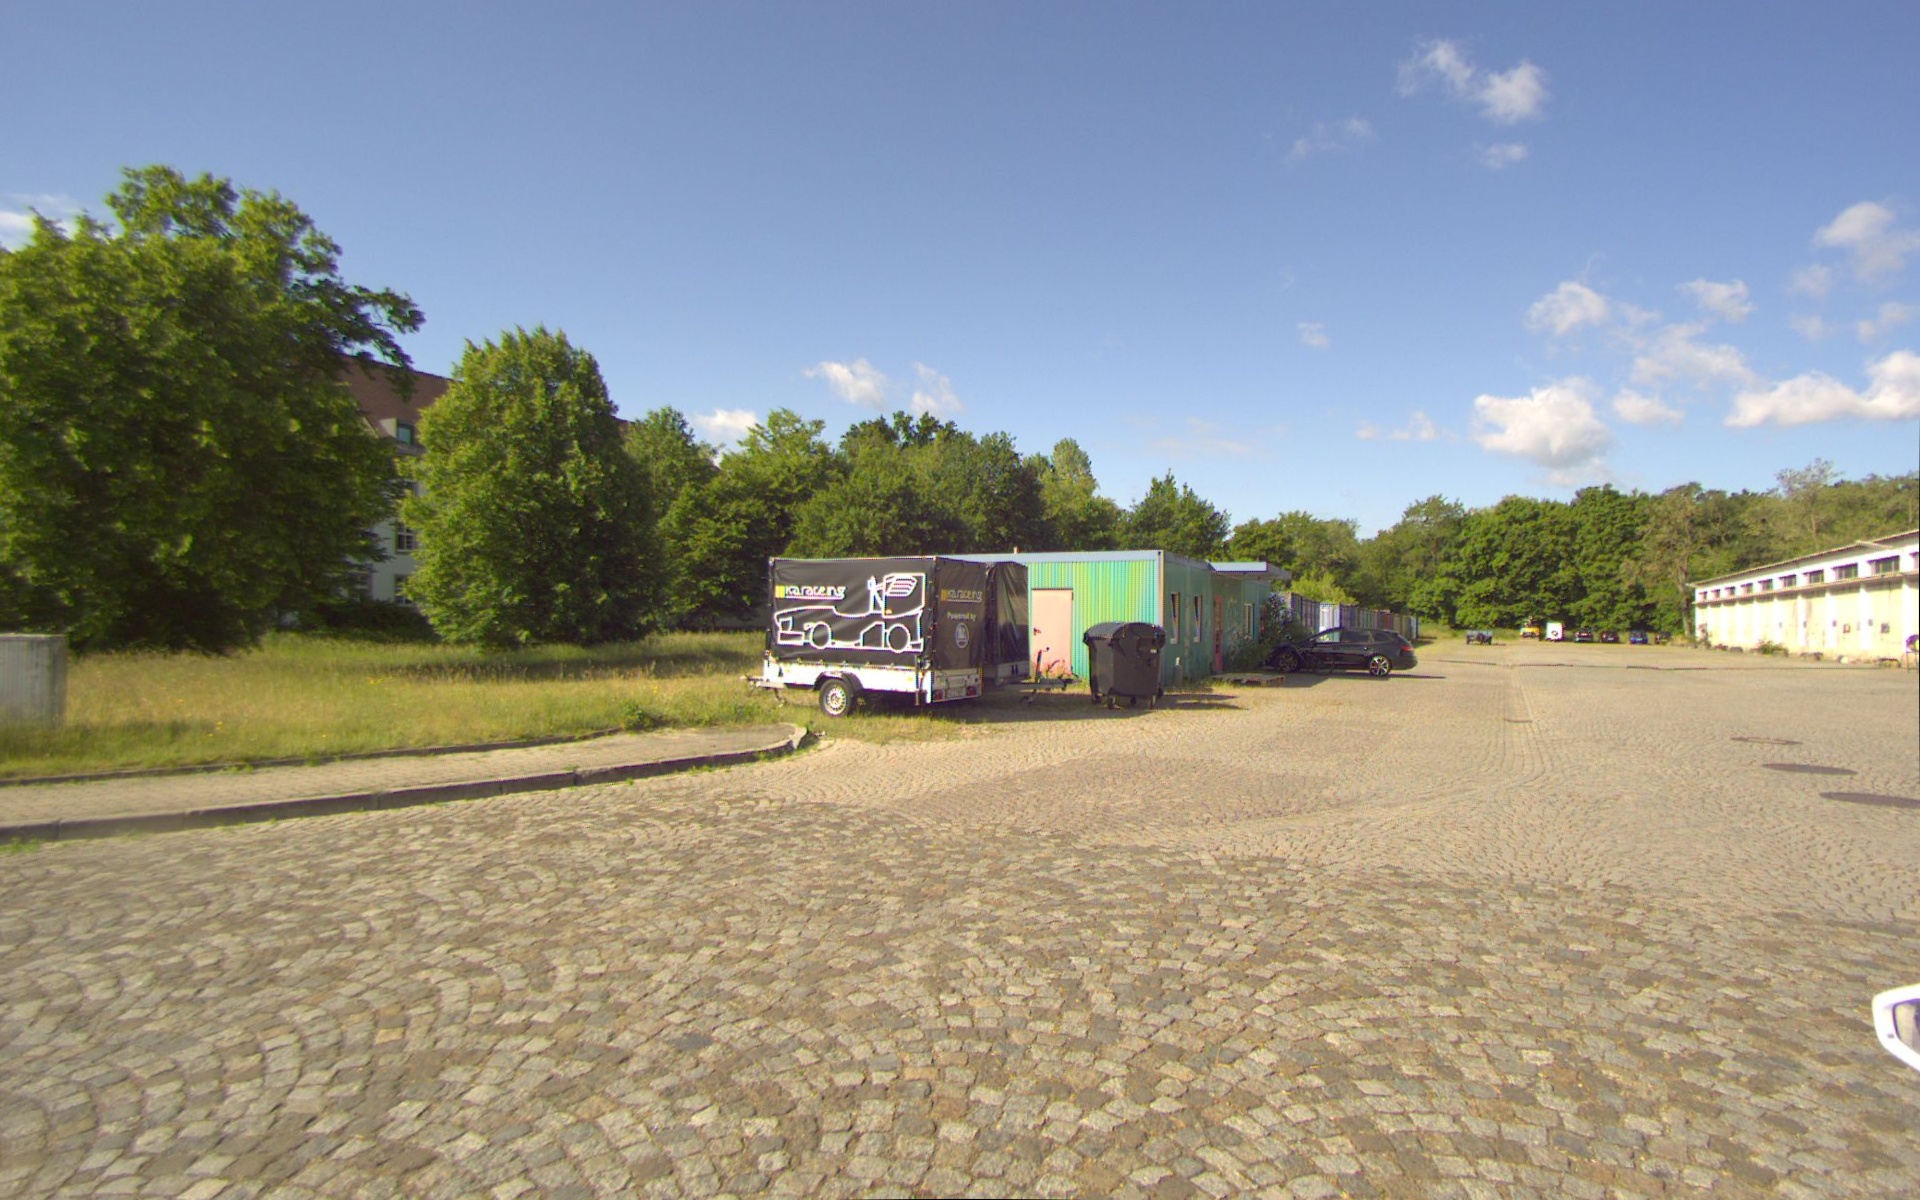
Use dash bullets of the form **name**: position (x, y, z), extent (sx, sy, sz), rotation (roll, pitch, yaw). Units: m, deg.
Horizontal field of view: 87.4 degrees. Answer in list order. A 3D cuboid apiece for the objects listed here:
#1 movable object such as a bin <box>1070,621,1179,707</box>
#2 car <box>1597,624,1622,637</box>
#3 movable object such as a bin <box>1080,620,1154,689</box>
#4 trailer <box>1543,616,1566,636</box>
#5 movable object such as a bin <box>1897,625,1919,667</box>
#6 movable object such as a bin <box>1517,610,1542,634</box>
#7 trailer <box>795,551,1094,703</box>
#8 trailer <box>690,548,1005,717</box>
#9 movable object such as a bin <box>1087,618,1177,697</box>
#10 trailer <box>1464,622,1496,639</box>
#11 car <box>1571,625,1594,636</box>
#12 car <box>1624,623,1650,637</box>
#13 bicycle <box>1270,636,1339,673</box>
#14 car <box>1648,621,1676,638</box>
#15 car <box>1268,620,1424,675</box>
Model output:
- **movable object such as a bin**: position (2.808, 1.063, 17.340), extent (1.363, 1.404, 1.531), rotation (1, -1, -15)
- **car**: position (70.903, 3.307, 109.755), extent (1.964, 1.443, 3.994), rotation (-1, -1, 28)
- **movable object such as a bin**: position (3.365, 1.126, 21.364), extent (1.358, 1.404, 1.536), rotation (0, -1, 17)
- **trailer**: position (66.854, 2.906, 113.037), extent (1.964, 2.191, 4.425), rotation (0, -1, 28)
- **movable object such as a bin**: position (33.508, 1.603, 35.091), extent (0.861, 1.420, 1.100), rotation (0, -1, 28)
- **movable object such as a bin**: position (65.101, 2.547, 114.902), extent (2.197, 2.692, 3.996), rotation (0, -1, 26)
- **trailer**: position (-0.288, 0.454, 17.754), extent (4.882, 2.386, 2.094), rotation (0, -1, 26)
- **trailer**: position (-1.817, 0.482, 15.885), extent (4.587, 2.328, 2.133), rotation (0, -1, 30)
- **movable object such as a bin**: position (3.350, 1.081, 19.489), extent (1.277, 1.441, 1.533), rotation (0, -1, 30)
- **trailer**: position (51.904, 3.021, 100.209), extent (2.749, 1.668, 5.613), rotation (-1, -2, 28)
- **car**: position (68.557, 3.343, 110.652), extent (1.964, 1.275, 3.994), rotation (-1, -1, 28)
- **car**: position (73.122, 3.248, 108.489), extent (1.964, 1.485, 3.994), rotation (-1, -1, 28)
- **bicycle**: position (10.280, 1.610, 29.987), extent (1.846, 1.041, 1.037), rotation (0, -1, 27)
- **car**: position (75.739, 3.135, 108.437), extent (1.964, 1.796, 3.994), rotation (-1, -1, 28)
- **car**: position (11.899, 1.418, 30.968), extent (4.346, 1.484, 1.998), rotation (1, -1, 26)
